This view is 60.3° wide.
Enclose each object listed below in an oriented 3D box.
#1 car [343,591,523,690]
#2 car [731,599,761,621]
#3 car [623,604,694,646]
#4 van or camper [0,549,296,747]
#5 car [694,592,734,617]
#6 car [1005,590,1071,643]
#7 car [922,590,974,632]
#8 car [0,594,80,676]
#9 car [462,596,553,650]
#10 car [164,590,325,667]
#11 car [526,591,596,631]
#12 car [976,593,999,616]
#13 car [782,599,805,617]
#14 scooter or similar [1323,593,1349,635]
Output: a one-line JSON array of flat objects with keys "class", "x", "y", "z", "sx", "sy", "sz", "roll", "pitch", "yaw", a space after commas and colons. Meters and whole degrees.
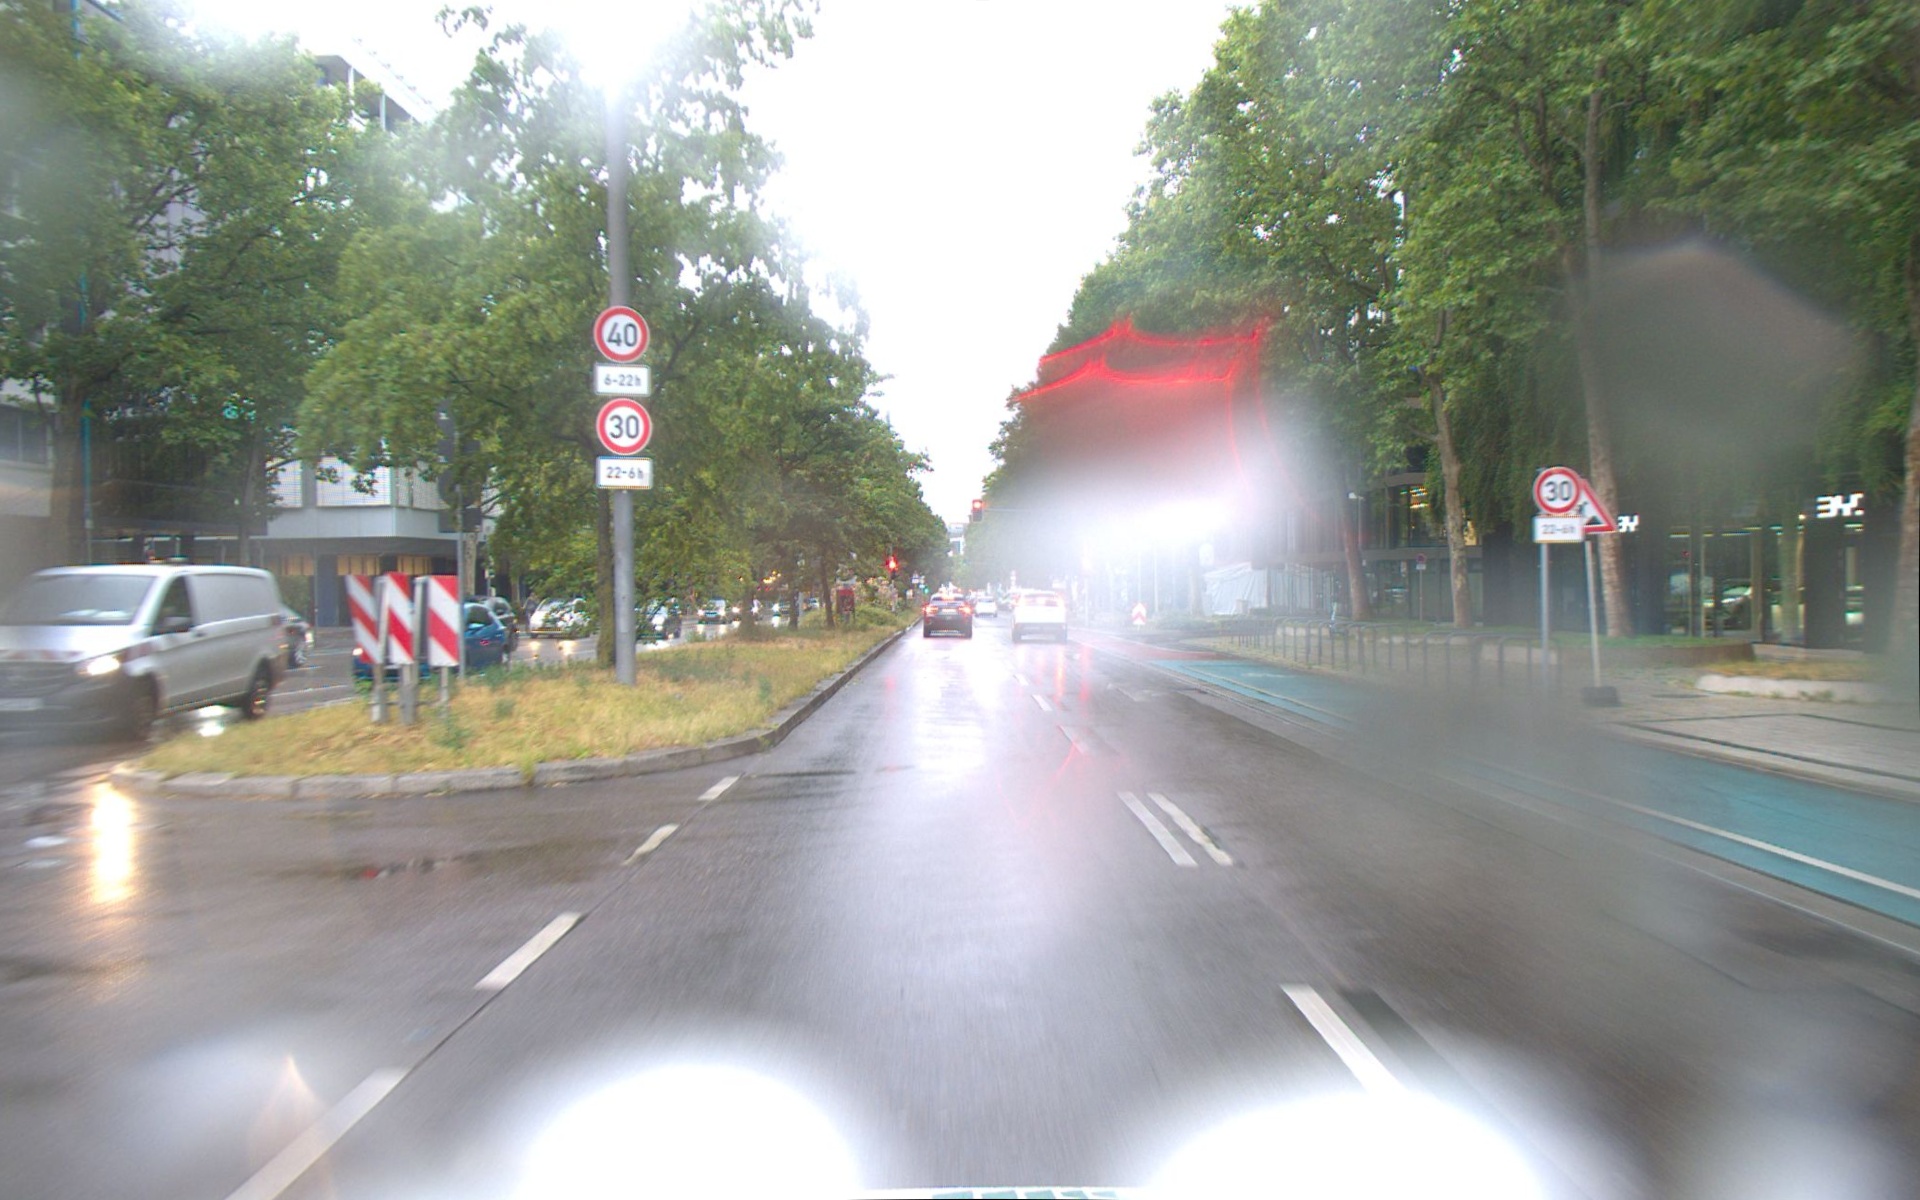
[{"class": "car", "x": -9.164, "y": 0.654, "z": 29.129, "sx": 1.806, "sy": 1.507, "sz": 4.396, "roll": 1, "pitch": 1, "yaw": -1}, {"class": "car", "x": -14.662, "y": 0.652, "z": 113.557, "sx": 1.581, "sy": 1.418, "sz": 4.184, "roll": 0, "pitch": 1, "yaw": -1}, {"class": "car", "x": -11.277, "y": 0.936, "z": 62.103, "sx": 1.712, "sy": 1.502, "sz": 4.097, "roll": 1, "pitch": -1, "yaw": 3}, {"class": "van or camper", "x": -9.547, "y": 0.443, "z": 18.960, "sx": 1.954, "sy": 1.947, "sz": 5.249, "roll": 0, "pitch": 1, "yaw": -3}, {"class": "car", "x": -14.553, "y": 0.244, "z": 98.090, "sx": 1.806, "sy": 1.414, "sz": 3.999, "roll": 0, "pitch": 0, "yaw": -1}, {"class": "car", "x": 2.607, "y": 0.510, "z": 56.439, "sx": 1.953, "sy": 1.684, "sz": 4.888, "roll": 0, "pitch": 1, "yaw": -1}, {"class": "car", "x": -0.475, "y": 0.399, "z": 61.890, "sx": 1.879, "sy": 1.517, "sz": 3.999, "roll": 0, "pitch": 0, "yaw": -1}, {"class": "car", "x": -18.779, "y": 0.659, "z": 32.001, "sx": 1.658, "sy": 1.494, "sz": 3.459, "roll": 0, "pitch": 1, "yaw": -1}, {"class": "car", "x": -12.738, "y": 0.622, "z": 46.736, "sx": 1.683, "sy": 1.391, "sz": 3.048, "roll": 1, "pitch": 1, "yaw": 1}, {"class": "car", "x": -14.829, "y": 0.544, "z": 34.525, "sx": 1.714, "sy": 1.501, "sz": 4.094, "roll": 0, "pitch": 0, "yaw": -2}, {"class": "car", "x": -14.959, "y": 0.400, "z": 62.159, "sx": 1.806, "sy": 1.454, "sz": 3.642, "roll": 0, "pitch": 0, "yaw": -1}, {"class": "car", "x": 2.124, "y": 0.341, "z": 128.403, "sx": 1.587, "sy": 1.695, "sz": 3.999, "roll": -1, "pitch": 0, "yaw": -1}, {"class": "car", "x": -13.694, "y": 0.671, "z": 135.990, "sx": 1.581, "sy": 1.418, "sz": 3.597, "roll": 0, "pitch": 0, "yaw": -1}, {"class": "scooter or similar", "x": 11.505, "y": 0.415, "z": 50.580, "sx": 0.374, "sy": 1.249, "sz": 1.075, "roll": 0, "pitch": 0, "yaw": 35}]
